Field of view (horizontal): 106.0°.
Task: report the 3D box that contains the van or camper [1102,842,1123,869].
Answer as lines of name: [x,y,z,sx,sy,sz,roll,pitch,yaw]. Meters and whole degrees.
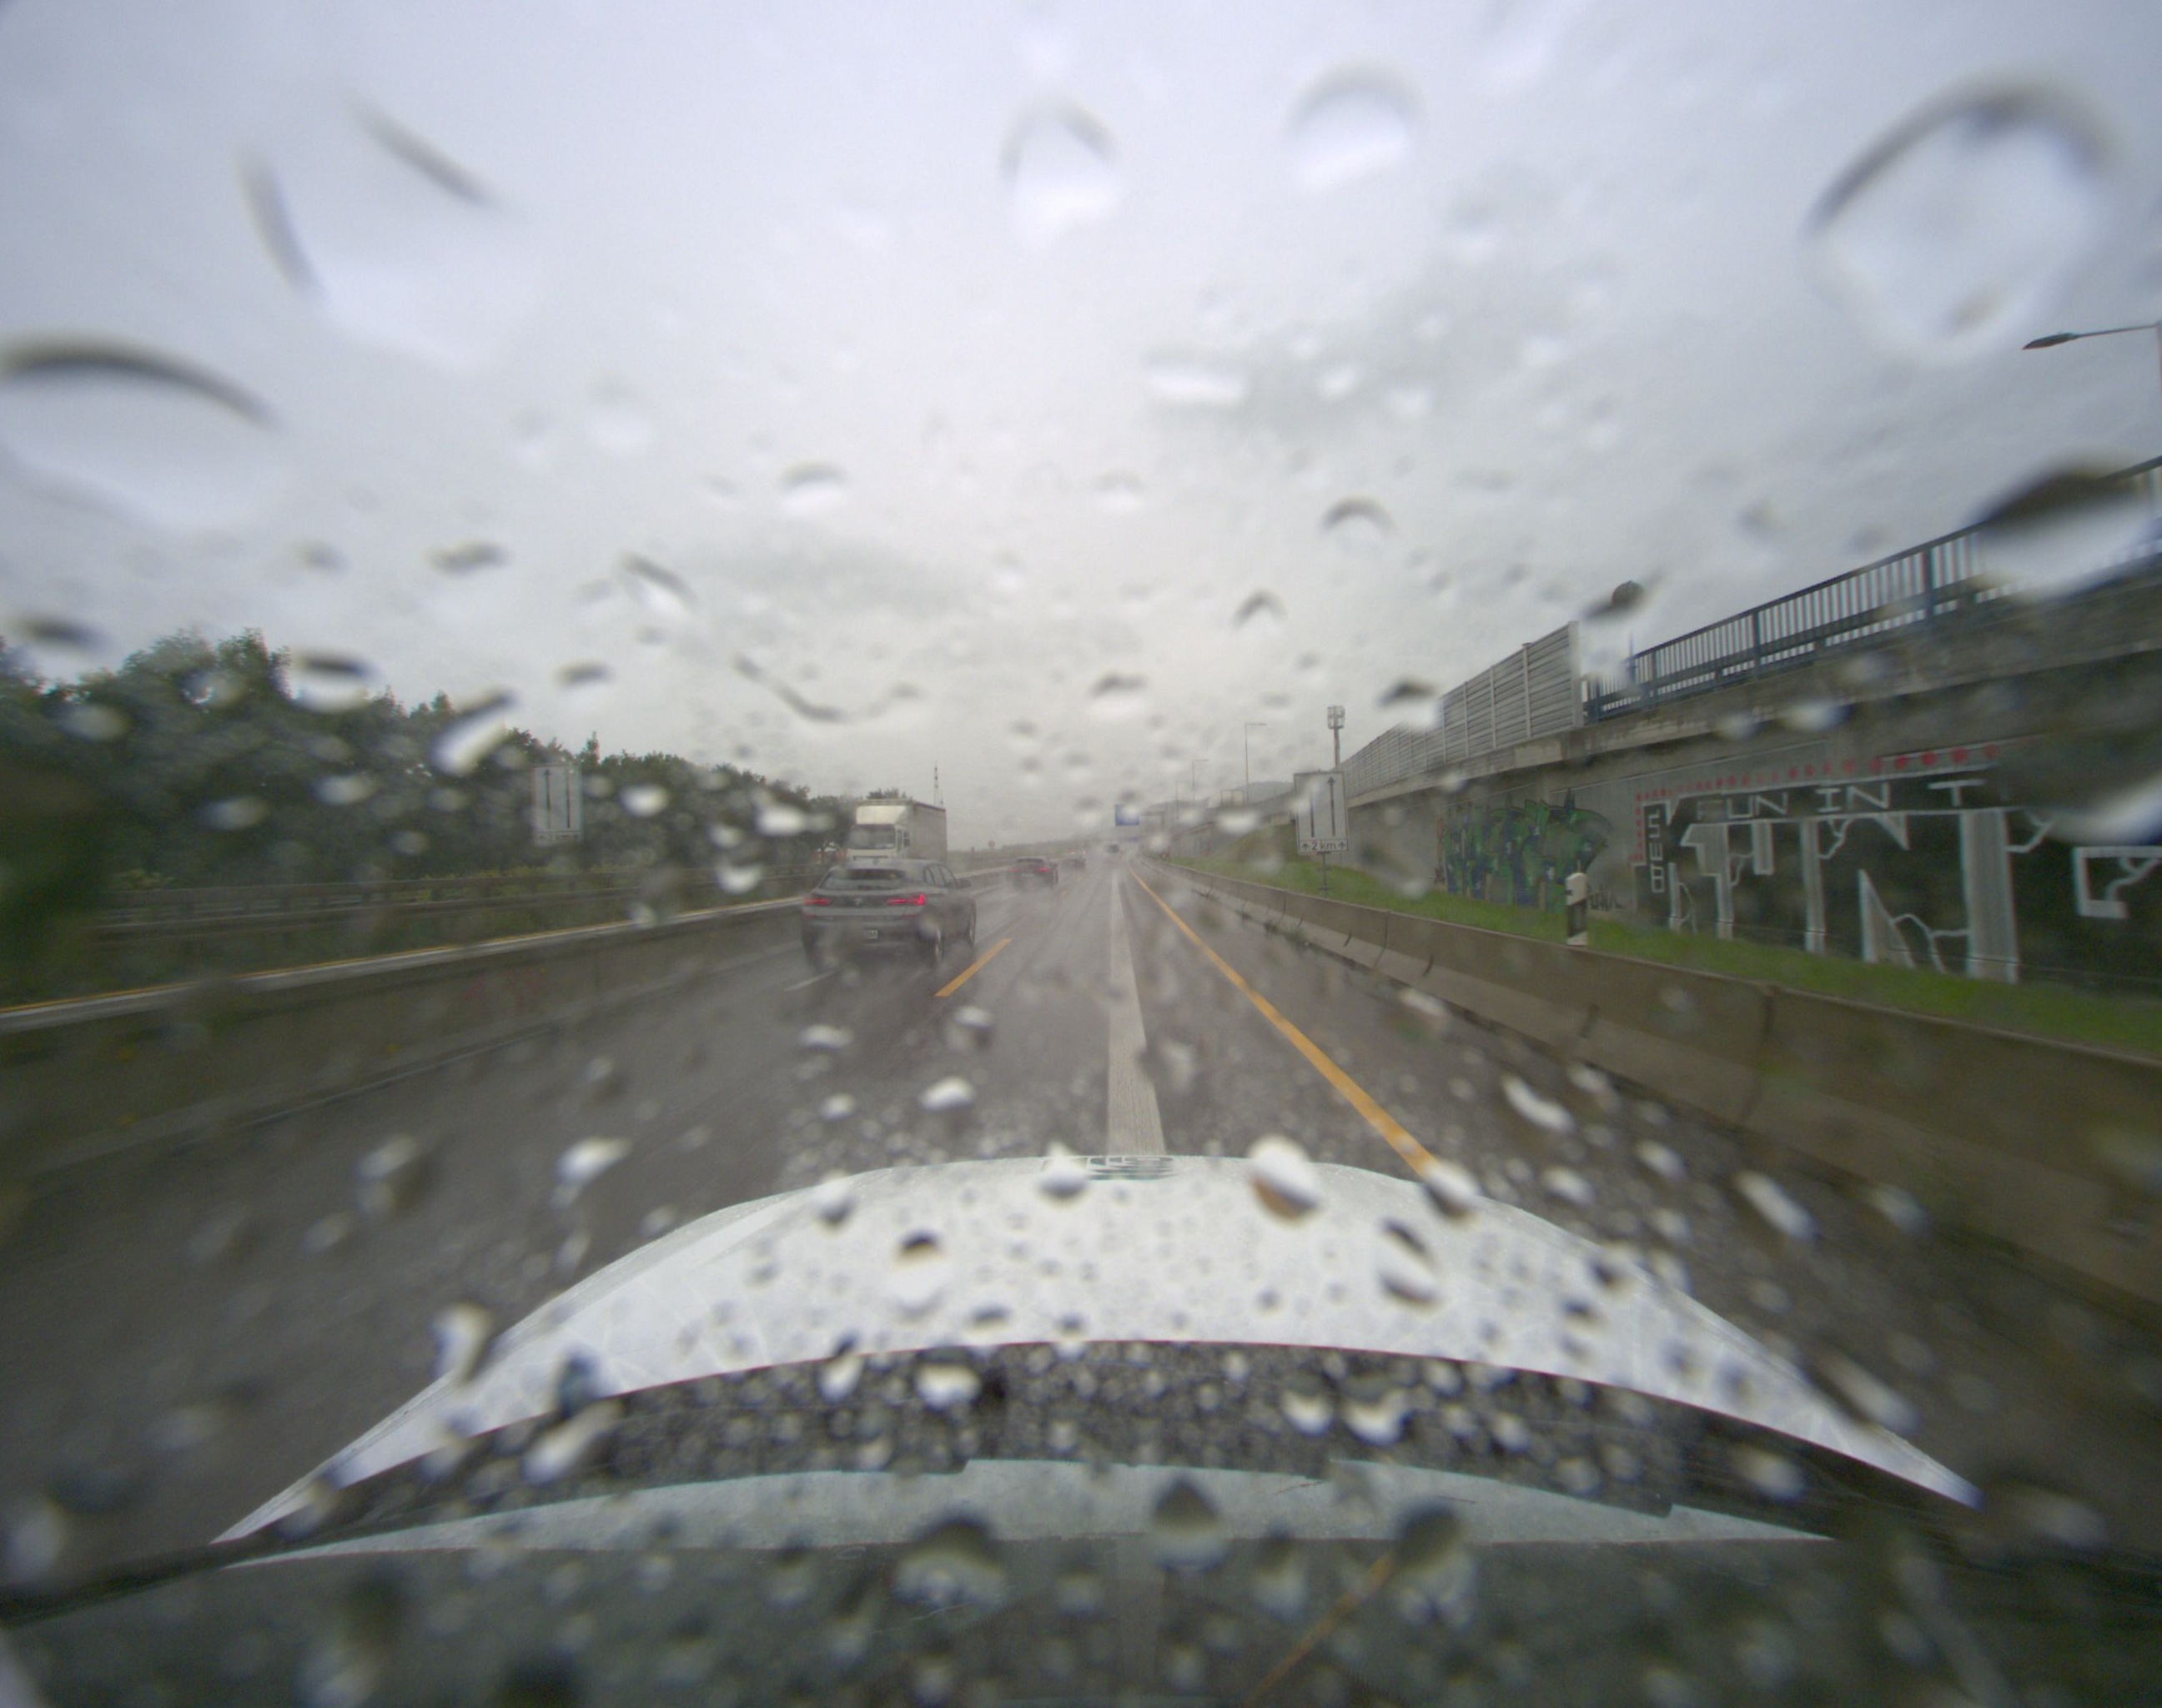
van or camper: [3.225,0.184,84.166,1.990,2.777,4.048,0,-1,0]

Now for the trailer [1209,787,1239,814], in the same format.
trailer: [17.098,-6.338,98.106,1.985,2.106,13.780,0,-1,4]

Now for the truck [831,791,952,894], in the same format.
truck: [-8.617,-0.401,38.525,2.993,4.166,9.835,-2,-1,2]

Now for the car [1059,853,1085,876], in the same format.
car: [-0.644,0.770,60.328,1.838,1.491,4.261,-3,0,0]

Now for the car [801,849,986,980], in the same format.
car: [-2.635,0.762,12.661,1.695,1.598,4.844,-2,0,0]

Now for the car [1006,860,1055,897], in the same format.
car: [-2.104,1.011,34.880,1.838,1.491,4.260,0,-1,0]
